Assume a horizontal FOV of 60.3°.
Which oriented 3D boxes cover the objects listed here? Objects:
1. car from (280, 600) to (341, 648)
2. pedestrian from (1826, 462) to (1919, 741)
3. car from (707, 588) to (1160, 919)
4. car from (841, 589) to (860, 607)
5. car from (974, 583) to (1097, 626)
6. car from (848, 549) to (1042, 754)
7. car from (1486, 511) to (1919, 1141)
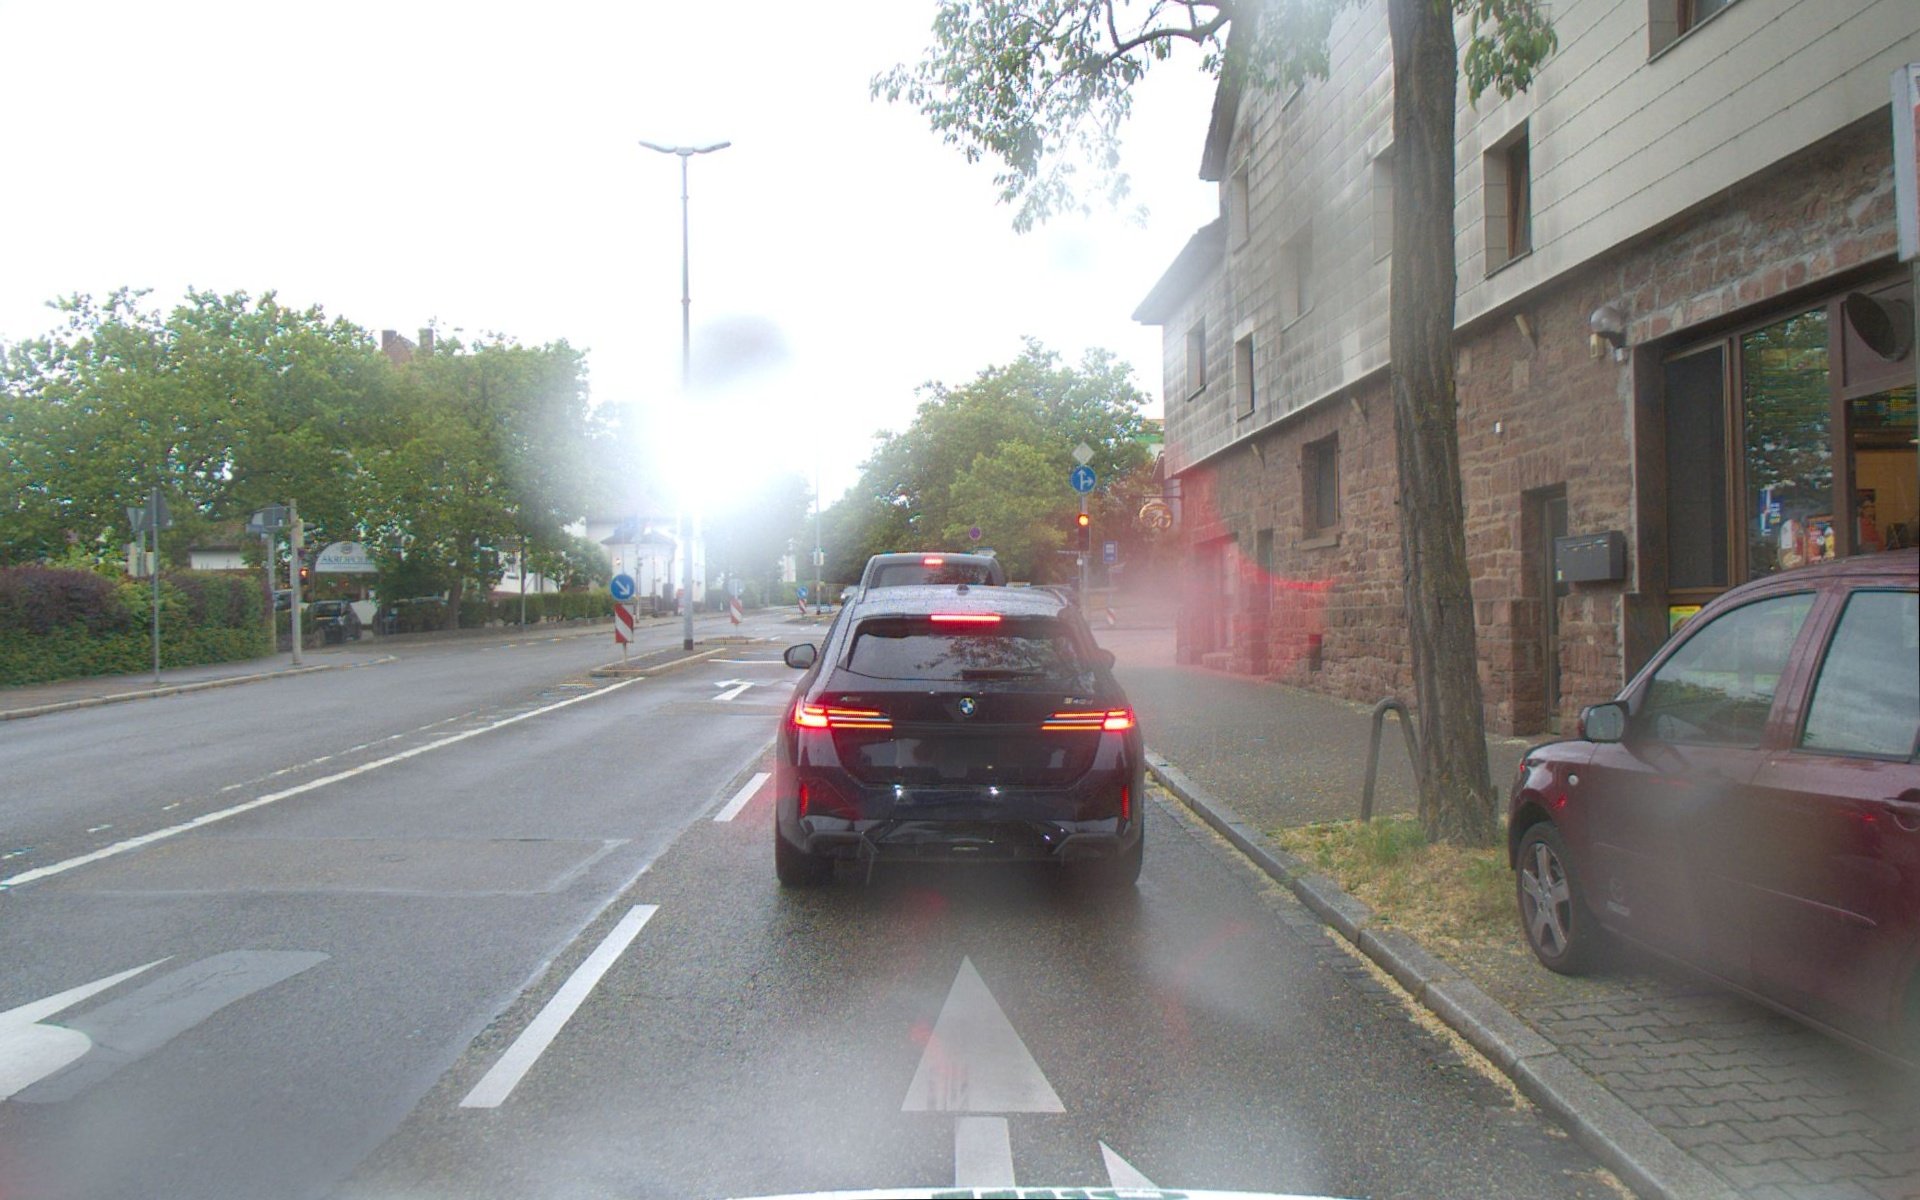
[{"bbox_3d":[-23.242,0.825,59.155,1.966,1.579,3.973,0,1,-22],"label":"car"},{"bbox_3d":[6.368,0.006,11.320,0.624,1.871,0.483,0,0,-1],"label":"pedestrian"},{"bbox_3d":[-0.233,0.683,9.669,2.023,1.472,4.480,1,0,-3],"label":"car"},{"bbox_3d":[-9.292,-0.172,140.332,1.435,1.422,3.320,0,1,-1],"label":"car"},{"bbox_3d":[2.962,0.171,64.865,4.402,1.614,2.059,1,0,-20],"label":"car"},{"bbox_3d":[-0.229,0.441,16.946,1.748,1.849,3.998,0,1,-3],"label":"car"},{"bbox_3d":[3.014,0.492,4.852,1.552,1.516,3.625,-3,1,-3],"label":"car"}]
